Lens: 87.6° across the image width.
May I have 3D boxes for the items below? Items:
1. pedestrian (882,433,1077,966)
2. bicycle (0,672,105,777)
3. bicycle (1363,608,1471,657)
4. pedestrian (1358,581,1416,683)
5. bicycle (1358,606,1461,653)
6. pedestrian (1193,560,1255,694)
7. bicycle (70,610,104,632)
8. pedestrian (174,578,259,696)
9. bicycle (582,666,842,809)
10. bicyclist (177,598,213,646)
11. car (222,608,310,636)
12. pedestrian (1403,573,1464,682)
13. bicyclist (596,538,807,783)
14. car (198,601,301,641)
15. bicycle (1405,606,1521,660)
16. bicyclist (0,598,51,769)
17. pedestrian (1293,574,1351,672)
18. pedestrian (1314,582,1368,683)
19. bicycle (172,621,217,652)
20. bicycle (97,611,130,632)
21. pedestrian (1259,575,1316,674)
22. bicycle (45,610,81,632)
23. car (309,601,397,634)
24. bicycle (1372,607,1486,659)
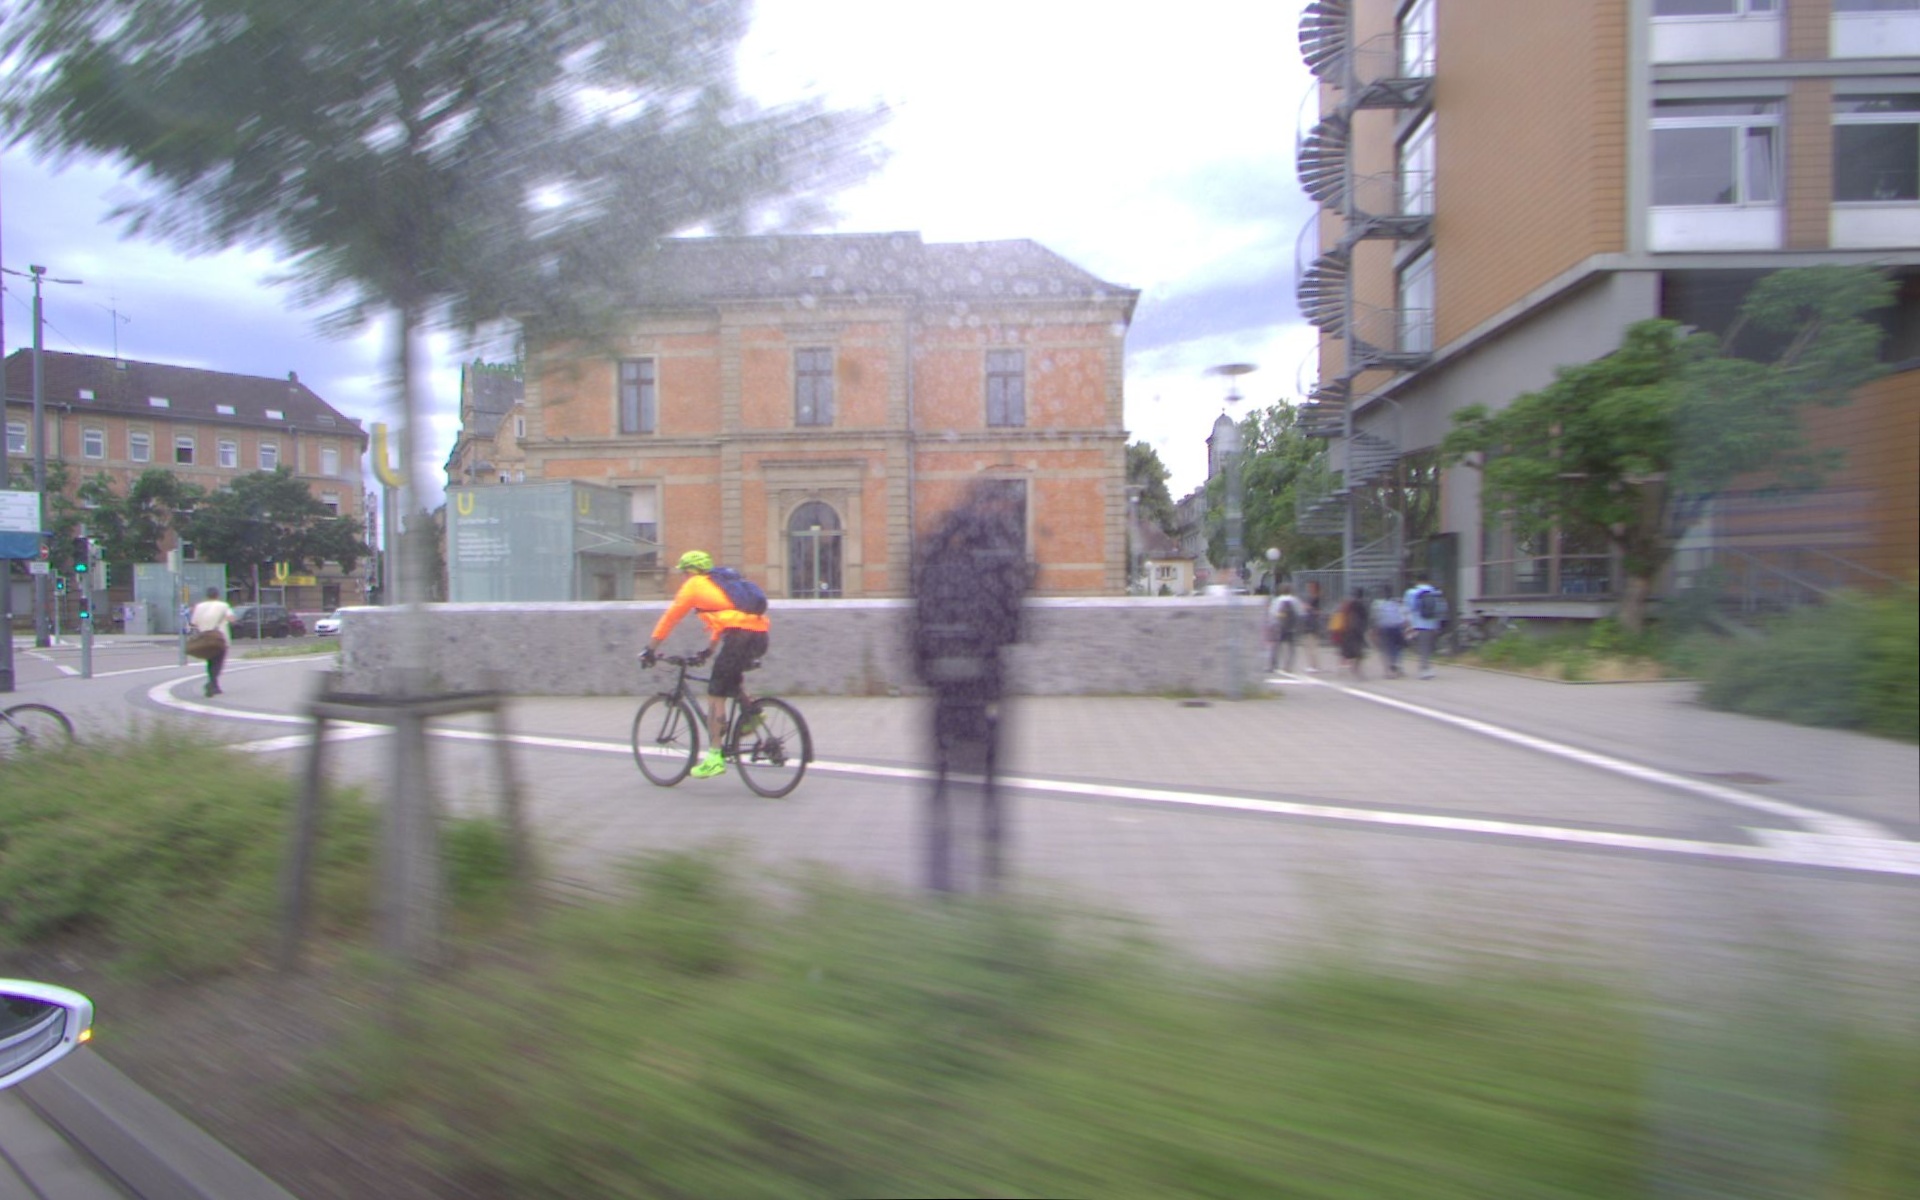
[{"bbox_3d":[0.072,0.371,4.103,0.710,1.953,0.874,0,0,0],"label":"pedestrian"},{"bbox_3d":[-9.047,1.173,9.070,0.756,0.851,1.817,0,2,29],"label":"bicycle"},{"bbox_3d":[10.854,0.779,23.809,2.335,1.137,0.832,1,-1,-14],"label":"bicycle"},{"bbox_3d":[7.141,0.525,16.773,0.710,1.653,0.873,0,0,10],"label":"pedestrian"},{"bbox_3d":[11.222,0.739,24.990,2.335,1.137,0.832,1,-1,-14],"label":"bicycle"},{"bbox_3d":[3.717,0.375,14.133,0.823,1.829,0.703,0,0,14],"label":"pedestrian"},{"bbox_3d":[-55.367,1.361,63.543,0.946,1.371,3.107,1,-2,-28],"label":"bicycle"},{"bbox_3d":[-12.451,0.597,16.814,0.873,1.892,1.282,0,0,-24],"label":"pedestrian"},{"bbox_3d":[-1.853,0.954,7.343,2.042,0.859,0.555,0,0,30],"label":"bicycle"},{"bbox_3d":[-25.915,0.741,33.949,0.681,1.582,0.923,-2,2,-22],"label":"bicyclist"},{"bbox_3d":[-37.927,1.178,54.838,1.662,1.461,3.999,0,-1,8],"label":"car"},{"bbox_3d":[7.862,0.458,16.658,0.710,1.760,0.873,0,0,10],"label":"pedestrian"},{"bbox_3d":[-1.901,0.412,7.377,1.302,1.642,0.826,0,0,30],"label":"bicyclist"},{"bbox_3d":[-35.337,1.046,49.939,1.662,1.925,4.386,0,-1,8],"label":"car"},{"bbox_3d":[10.837,0.716,21.584,2.336,1.137,0.832,1,-1,-18],"label":"bicycle"},{"bbox_3d":[-9.064,0.751,9.035,0.748,1.541,1.096,0,0,29],"label":"bicyclist"},{"bbox_3d":[6.700,0.416,18.566,0.710,1.766,0.874,0,0,-5],"label":"pedestrian"},{"bbox_3d":[6.427,0.537,16.932,0.710,1.653,0.873,0,0,10],"label":"pedestrian"},{"bbox_3d":[-25.907,1.220,33.908,0.661,0.946,1.853,-3,2,-21],"label":"bicycle"},{"bbox_3d":[-54.308,1.389,64.293,0.946,1.371,3.107,1,-2,-28],"label":"bicycle"},{"bbox_3d":[5.948,0.445,18.225,0.710,1.753,0.874,0,0,-5],"label":"pedestrian"},{"bbox_3d":[-56.317,1.337,62.891,0.946,1.371,3.107,1,-2,-28],"label":"bicycle"},{"bbox_3d":[-37.304,1.066,61.716,1.833,1.941,5.099,0,-1,9],"label":"car"},{"bbox_3d":[10.588,0.744,22.622,2.335,1.137,0.832,1,-1,-14],"label":"bicycle"}]
